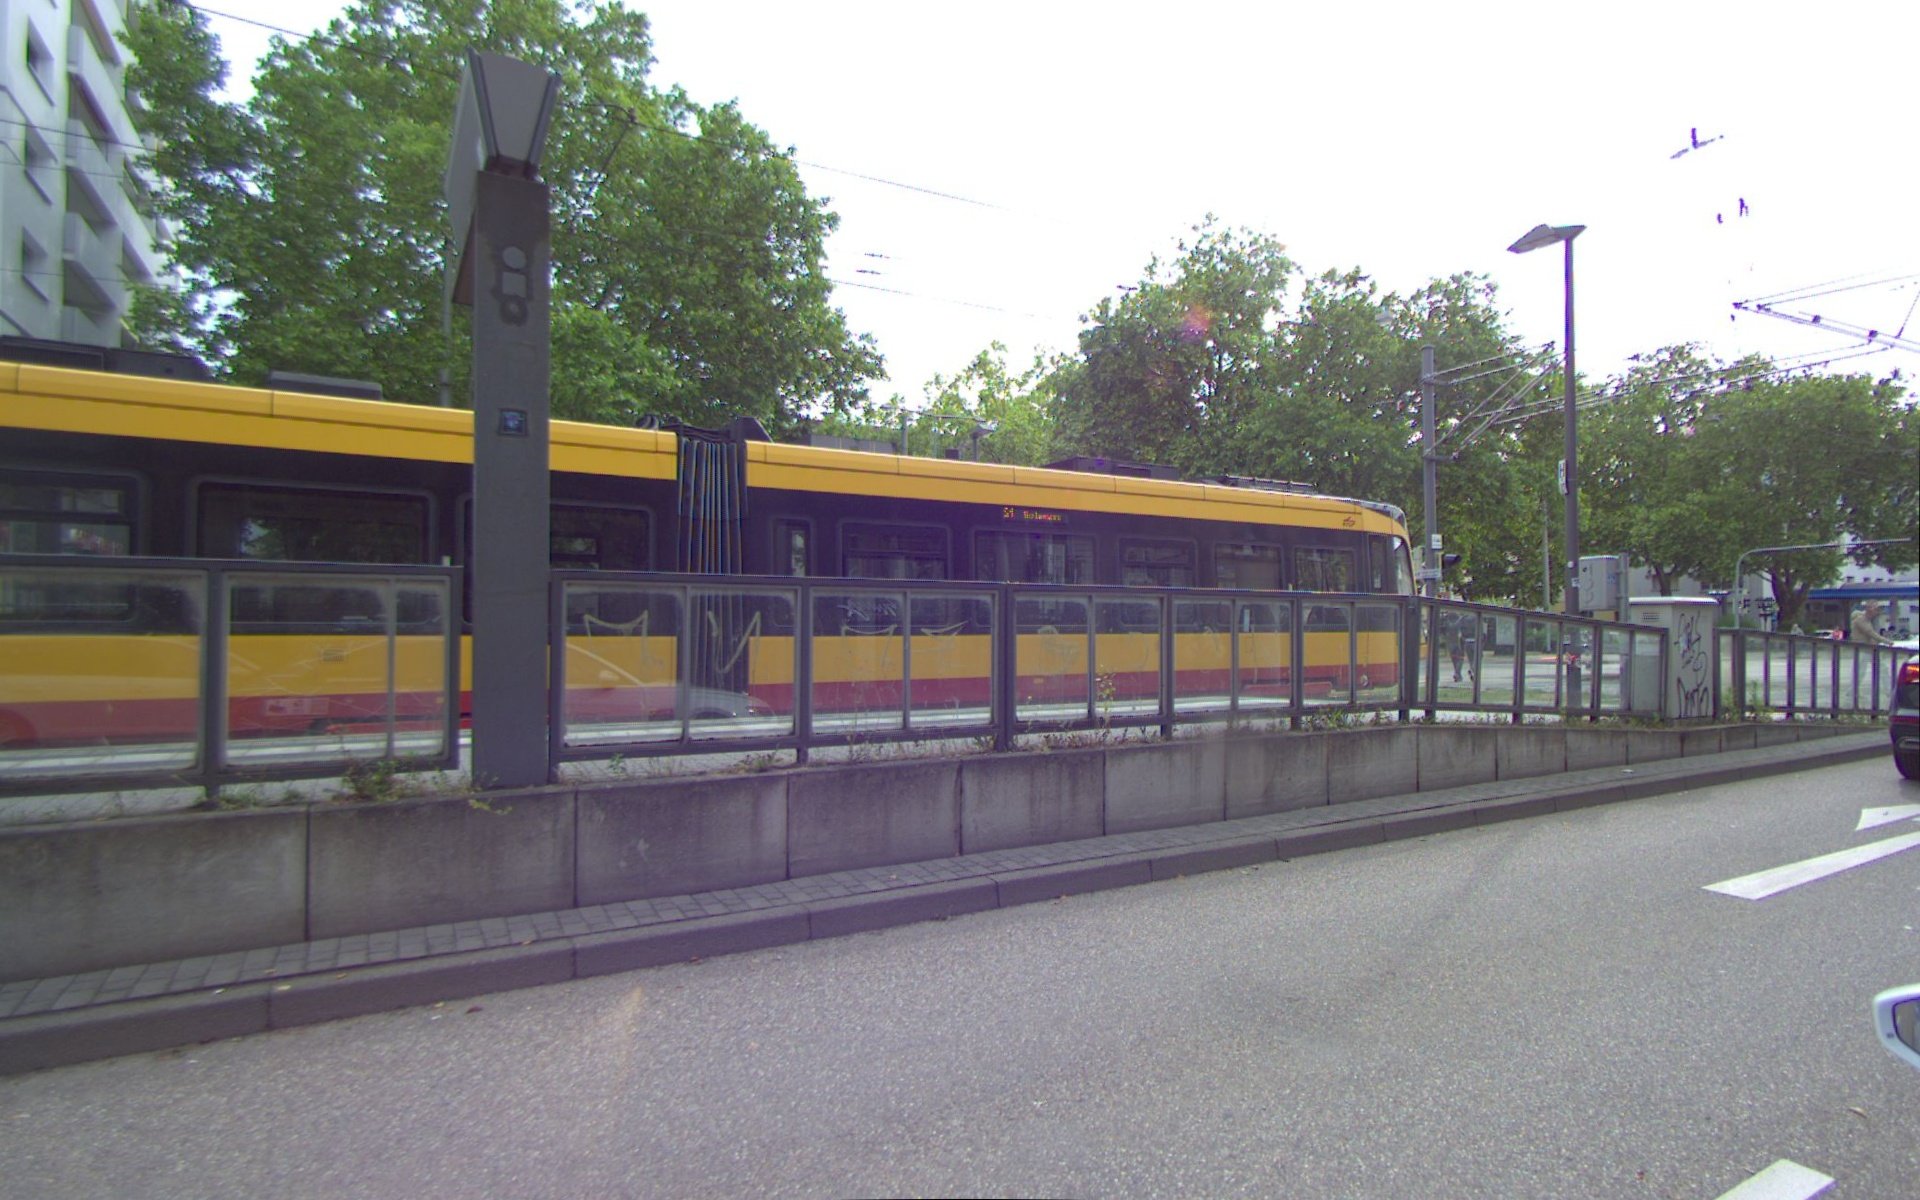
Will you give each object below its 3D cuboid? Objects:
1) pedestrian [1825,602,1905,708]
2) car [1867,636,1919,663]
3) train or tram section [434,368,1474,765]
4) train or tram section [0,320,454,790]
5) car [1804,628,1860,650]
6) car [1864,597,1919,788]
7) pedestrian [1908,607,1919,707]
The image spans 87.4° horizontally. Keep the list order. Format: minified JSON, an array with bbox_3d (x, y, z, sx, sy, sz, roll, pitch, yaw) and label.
[{"bbox_3d":[16.294,0.970,18.105,0.999,1.837,0.582,1,0,38],"label":"pedestrian"},{"bbox_3d":[50.808,2.646,54.264,3.953,1.343,1.626,1,-1,-31],"label":"car"},{"bbox_3d":[1.312,-0.149,14.535,15.665,3.636,3.045,1,0,-31],"label":"train or tram section"},{"bbox_3d":[-11.915,-0.433,6.659,15.117,3.579,3.045,1,0,-31],"label":"train or tram section"},{"bbox_3d":[64.237,2.888,73.966,3.953,1.550,1.984,1,-1,-31],"label":"car"},{"bbox_3d":[10.276,0.824,9.165,4.307,1.622,1.870,1,-1,-31],"label":"car"},{"bbox_3d":[16.552,0.967,16.689,0.977,1.674,0.628,1,0,16],"label":"pedestrian"}]
